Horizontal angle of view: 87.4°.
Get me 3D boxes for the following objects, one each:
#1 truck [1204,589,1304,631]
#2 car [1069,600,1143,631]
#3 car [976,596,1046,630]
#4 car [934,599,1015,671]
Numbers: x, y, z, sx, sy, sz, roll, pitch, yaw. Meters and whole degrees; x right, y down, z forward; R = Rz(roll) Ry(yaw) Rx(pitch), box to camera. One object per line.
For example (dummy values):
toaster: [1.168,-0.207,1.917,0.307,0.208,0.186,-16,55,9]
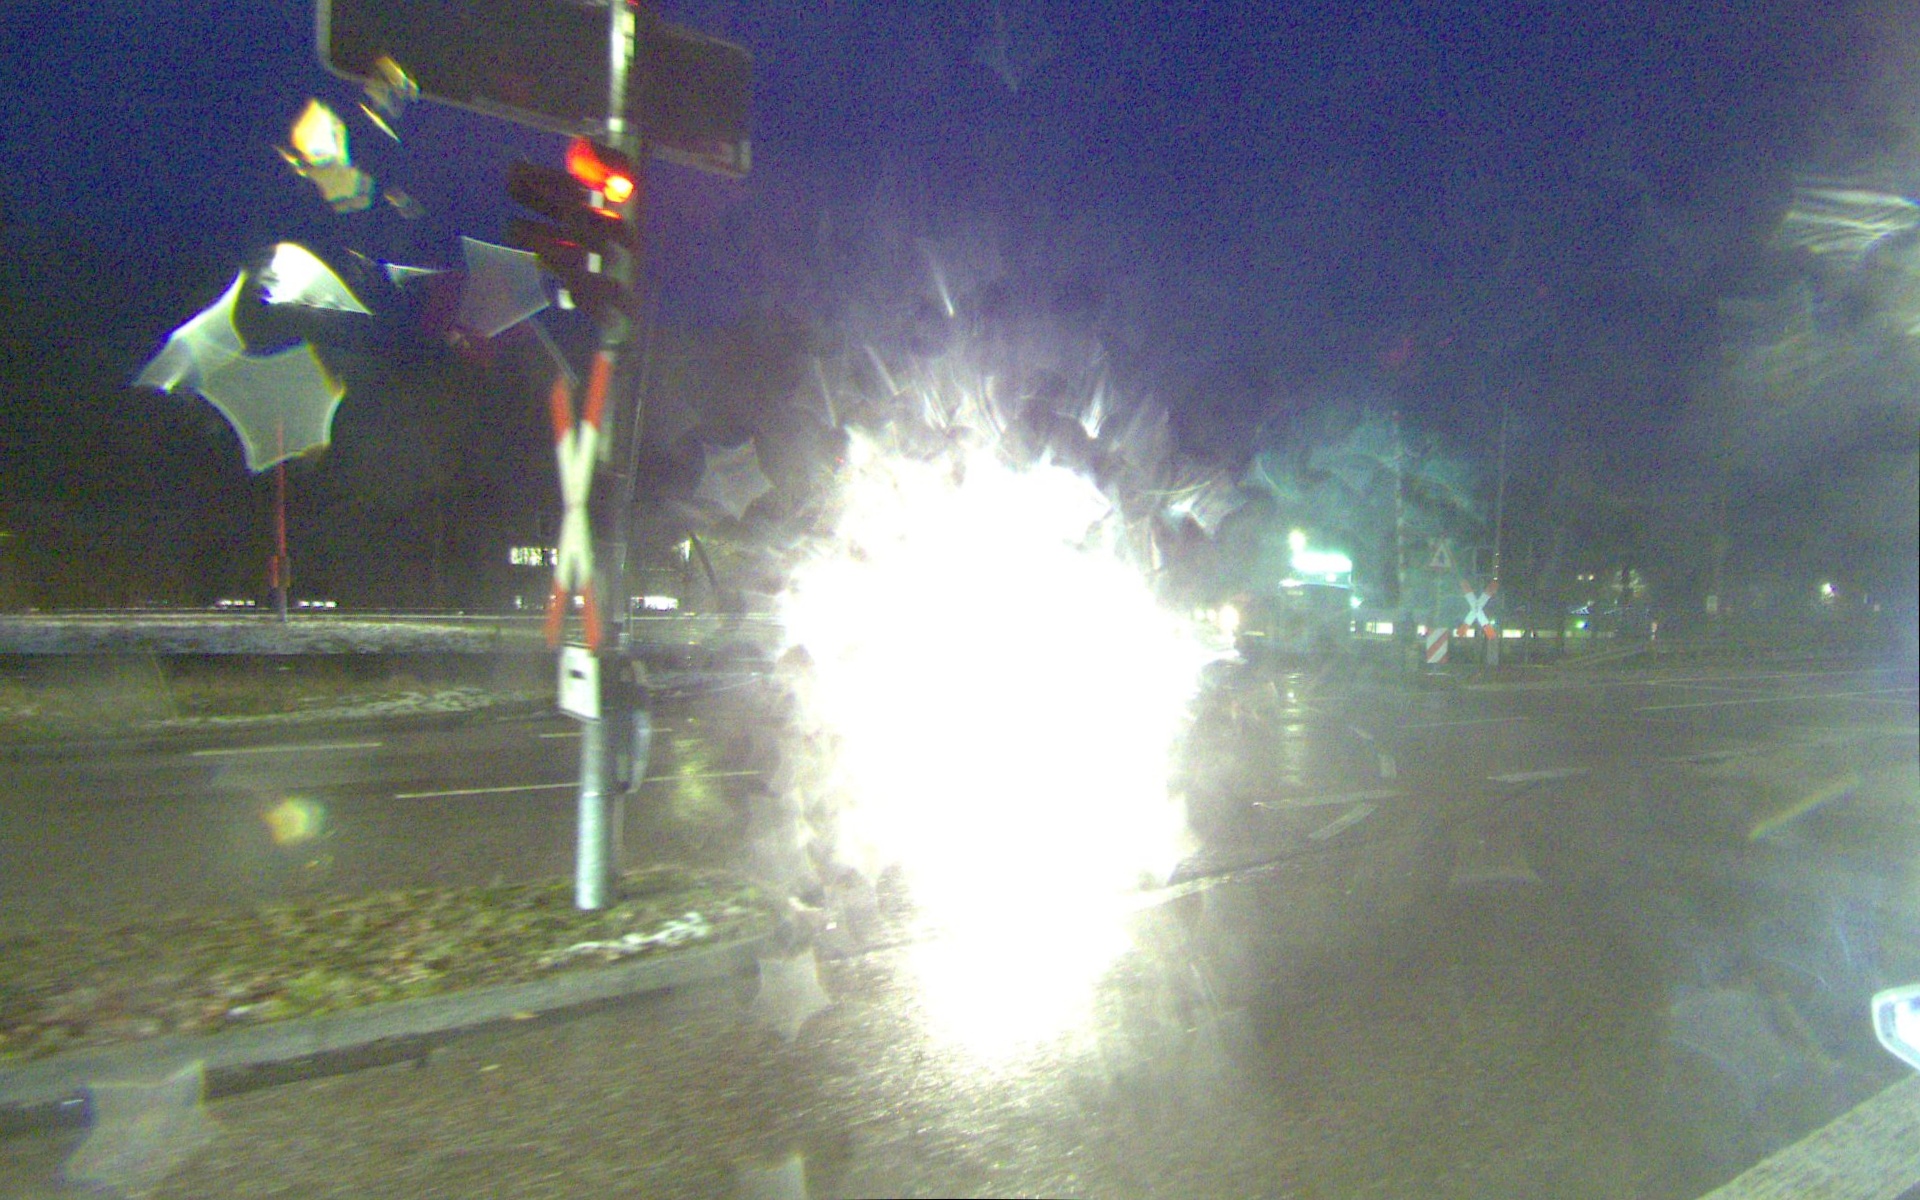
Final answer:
truck: [17.396,0.585,59.366,5.946,2.302,1.985,2,0,-28]
car: [7.778,0.824,53.410,3.968,1.539,1.706,1,0,-41]
car: [2.495,0.625,48.174,1.696,1.539,3.992,2,0,30]
car: [0.279,0.795,24.885,1.487,1.538,4.370,2,0,-6]
